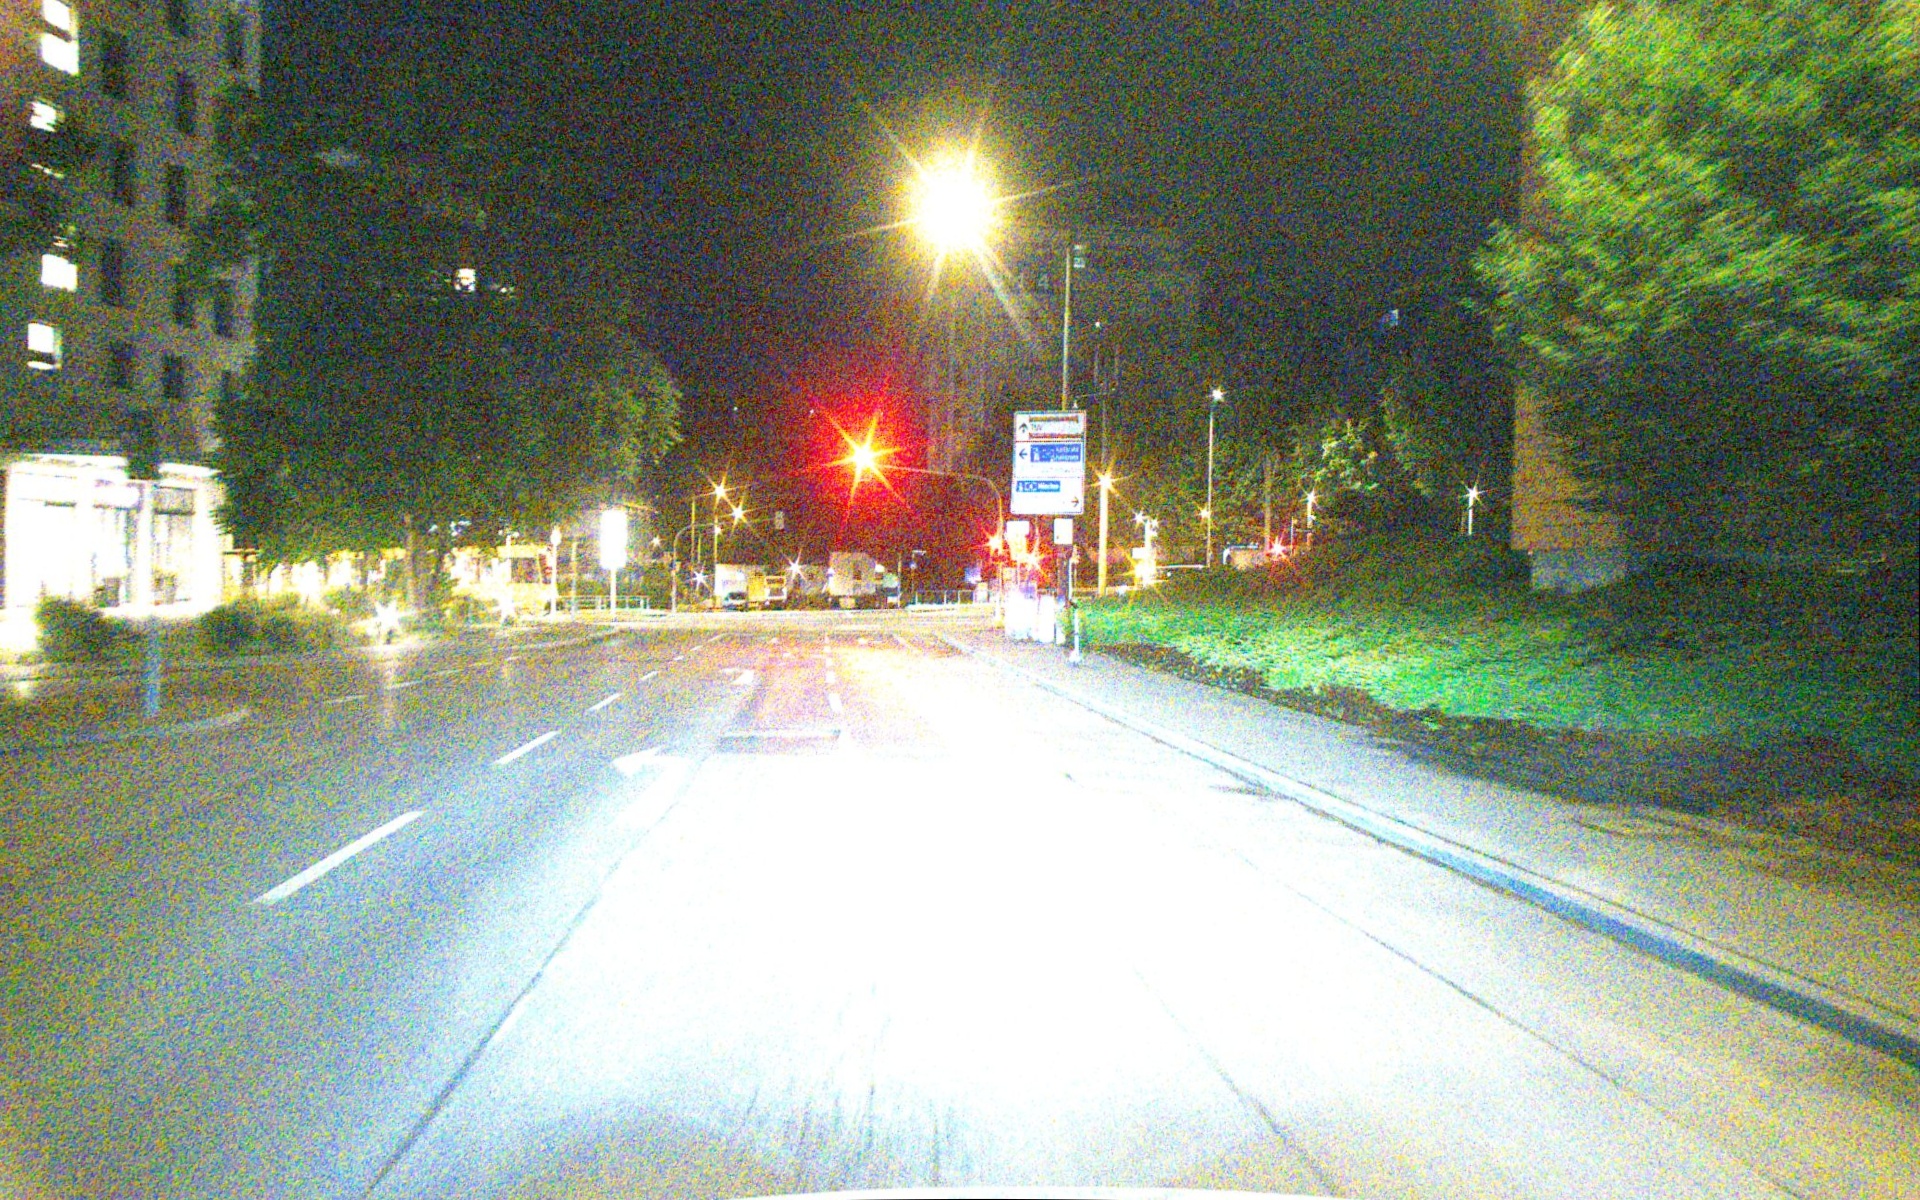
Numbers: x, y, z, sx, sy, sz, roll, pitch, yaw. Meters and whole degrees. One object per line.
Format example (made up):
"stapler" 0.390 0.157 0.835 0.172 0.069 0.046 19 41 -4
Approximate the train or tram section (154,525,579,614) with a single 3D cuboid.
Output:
"train or tram section" -27.572 -1.394 77.299 18.778 3.890 2.924 -1 0 1

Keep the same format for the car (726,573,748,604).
"car" -22.493 -1.165 166.713 1.957 3.026 3.991 0 1 -10

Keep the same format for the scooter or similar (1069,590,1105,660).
"scooter or similar" 2.409 0.461 31.412 0.484 1.284 1.319 -2 1 -3

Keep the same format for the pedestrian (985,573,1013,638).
"pedestrian" 1.230 0.173 52.220 0.727 2.016 0.621 0 0 -22

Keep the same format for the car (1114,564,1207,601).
"car" 10.332 -0.917 85.475 4.518 1.668 2.000 -2 1 1

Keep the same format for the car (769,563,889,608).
"car" -14.257 -1.597 179.946 12.197 4.792 4.784 0 0 -19
